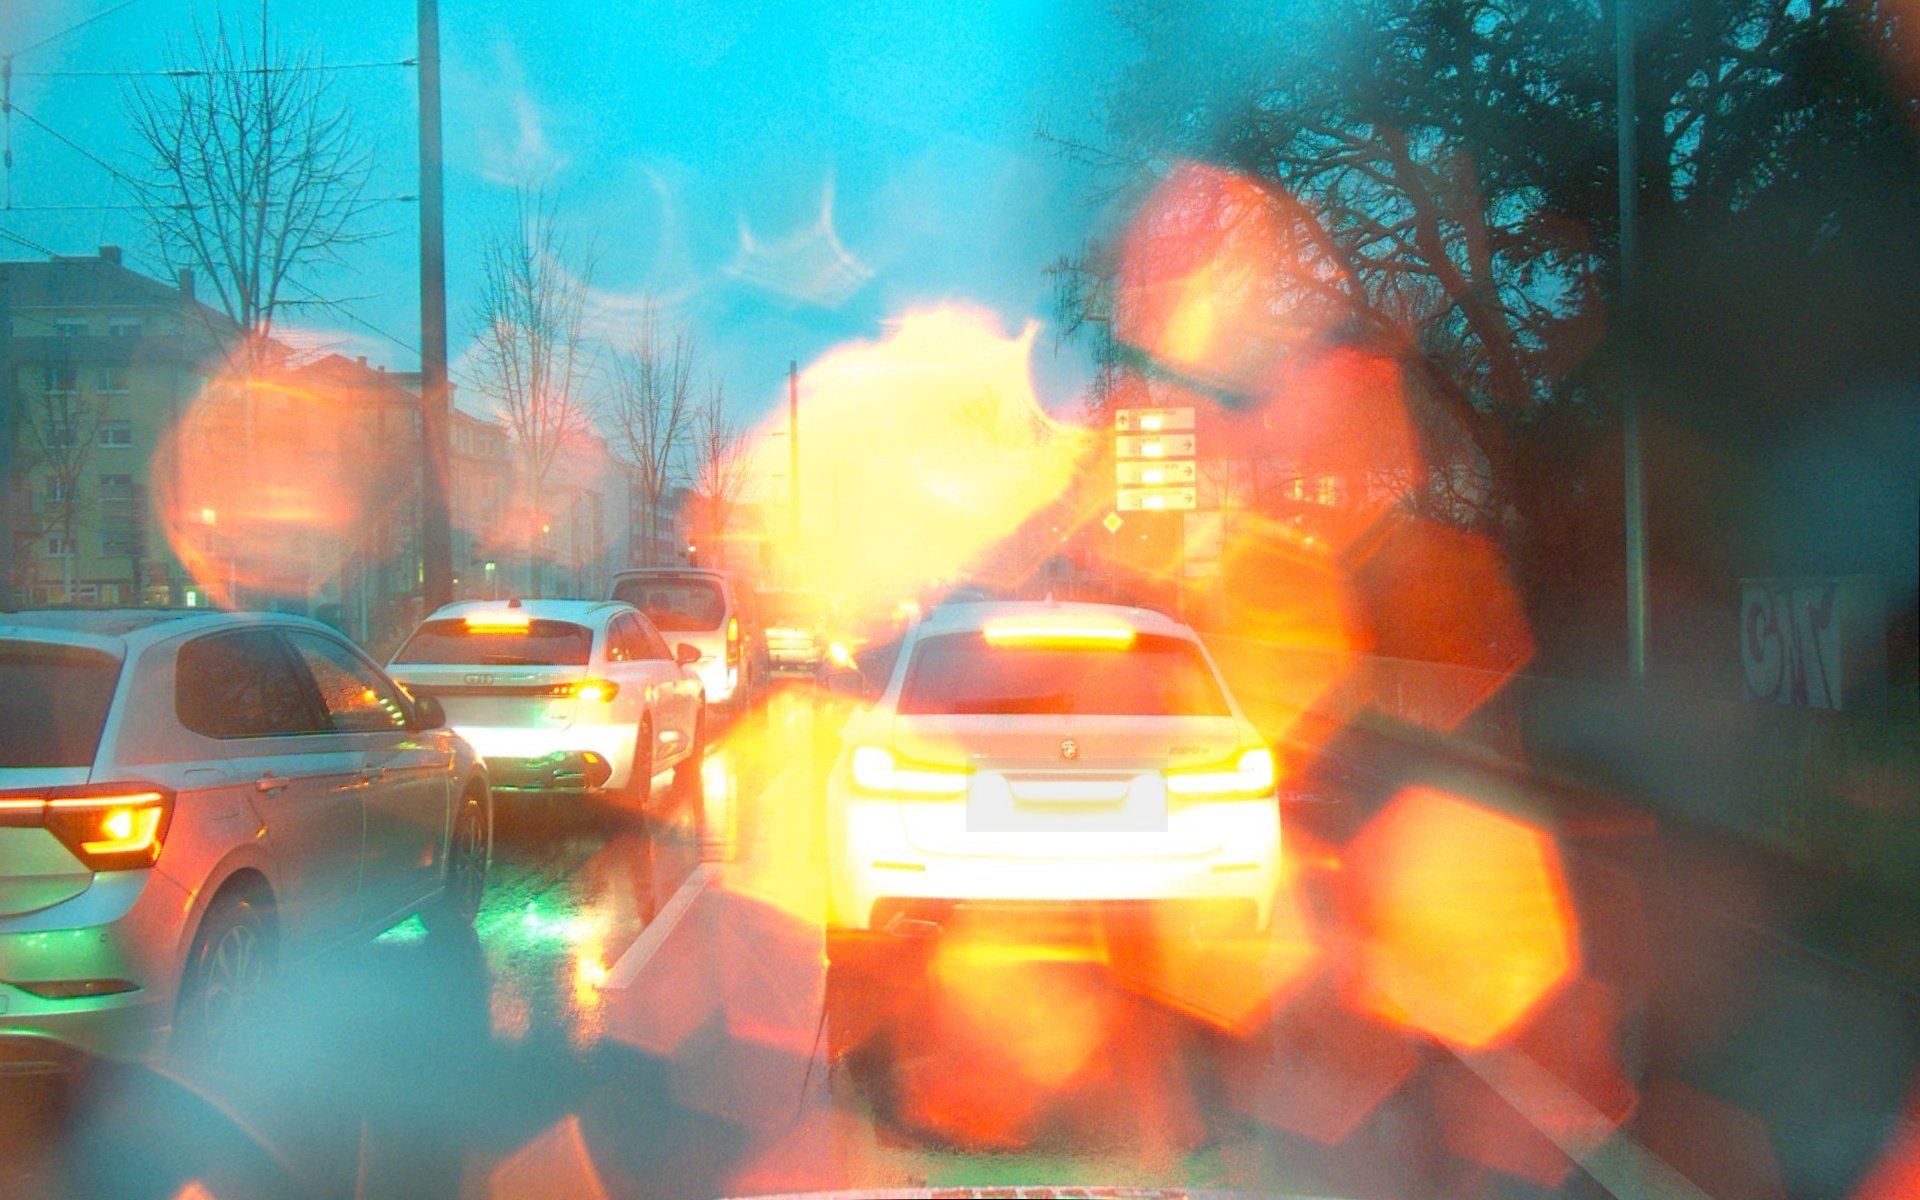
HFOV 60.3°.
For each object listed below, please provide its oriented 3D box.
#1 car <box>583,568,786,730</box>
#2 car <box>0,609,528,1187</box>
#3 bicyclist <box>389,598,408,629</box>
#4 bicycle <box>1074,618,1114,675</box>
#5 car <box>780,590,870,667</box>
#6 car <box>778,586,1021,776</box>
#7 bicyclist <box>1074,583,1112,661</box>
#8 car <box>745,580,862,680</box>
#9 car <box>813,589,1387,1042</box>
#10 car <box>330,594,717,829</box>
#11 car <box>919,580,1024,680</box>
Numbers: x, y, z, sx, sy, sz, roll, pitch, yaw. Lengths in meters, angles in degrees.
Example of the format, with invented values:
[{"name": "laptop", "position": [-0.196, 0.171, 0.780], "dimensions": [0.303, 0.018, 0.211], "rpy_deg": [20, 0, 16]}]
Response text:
[{"name": "car", "position": [-3.261, 0.537, 20.414], "dimensions": [1.757, 1.766, 4.536], "rpy_deg": [0, 0, -1]}, {"name": "car", "position": [-2.911, 0.744, 6.037], "dimensions": [1.727, 1.395, 3.980], "rpy_deg": [0, 0, -2]}, {"name": "bicyclist", "position": [-29.531, 0.691, 86.964], "dimensions": [0.781, 1.607, 0.630], "rpy_deg": [1, 0, -34]}, {"name": "bicycle", "position": [2.477, 0.841, 30.742], "dimensions": [0.632, 0.983, 2.047], "rpy_deg": [-1, 0, 1]}, {"name": "car", "position": [-3.041, 0.608, 37.839], "dimensions": [1.770, 1.674, 3.999], "rpy_deg": [0, 0, -1]}, {"name": "car", "position": [-0.502, 0.618, 15.041], "dimensions": [1.896, 1.483, 4.162], "rpy_deg": [0, 0, -1]}, {"name": "bicyclist", "position": [2.472, 0.395, 30.725], "dimensions": [0.632, 1.413, 0.890], "rpy_deg": [-1, 0, 1]}, {"name": "car", "position": [-2.739, 0.494, 29.783], "dimensions": [1.770, 1.674, 3.999], "rpy_deg": [0, 0, -1]}, {"name": "car", "position": [0.451, 0.718, 7.722], "dimensions": [1.958, 1.534, 4.162], "rpy_deg": [0, 0, -1]}, {"name": "car", "position": [-3.004, 0.686, 12.422], "dimensions": [1.809, 1.430, 4.612], "rpy_deg": [0, 0, -2]}, {"name": "car", "position": [0.172, 0.498, 29.788], "dimensions": [1.770, 1.674, 3.999], "rpy_deg": [0, 0, -1]}]
